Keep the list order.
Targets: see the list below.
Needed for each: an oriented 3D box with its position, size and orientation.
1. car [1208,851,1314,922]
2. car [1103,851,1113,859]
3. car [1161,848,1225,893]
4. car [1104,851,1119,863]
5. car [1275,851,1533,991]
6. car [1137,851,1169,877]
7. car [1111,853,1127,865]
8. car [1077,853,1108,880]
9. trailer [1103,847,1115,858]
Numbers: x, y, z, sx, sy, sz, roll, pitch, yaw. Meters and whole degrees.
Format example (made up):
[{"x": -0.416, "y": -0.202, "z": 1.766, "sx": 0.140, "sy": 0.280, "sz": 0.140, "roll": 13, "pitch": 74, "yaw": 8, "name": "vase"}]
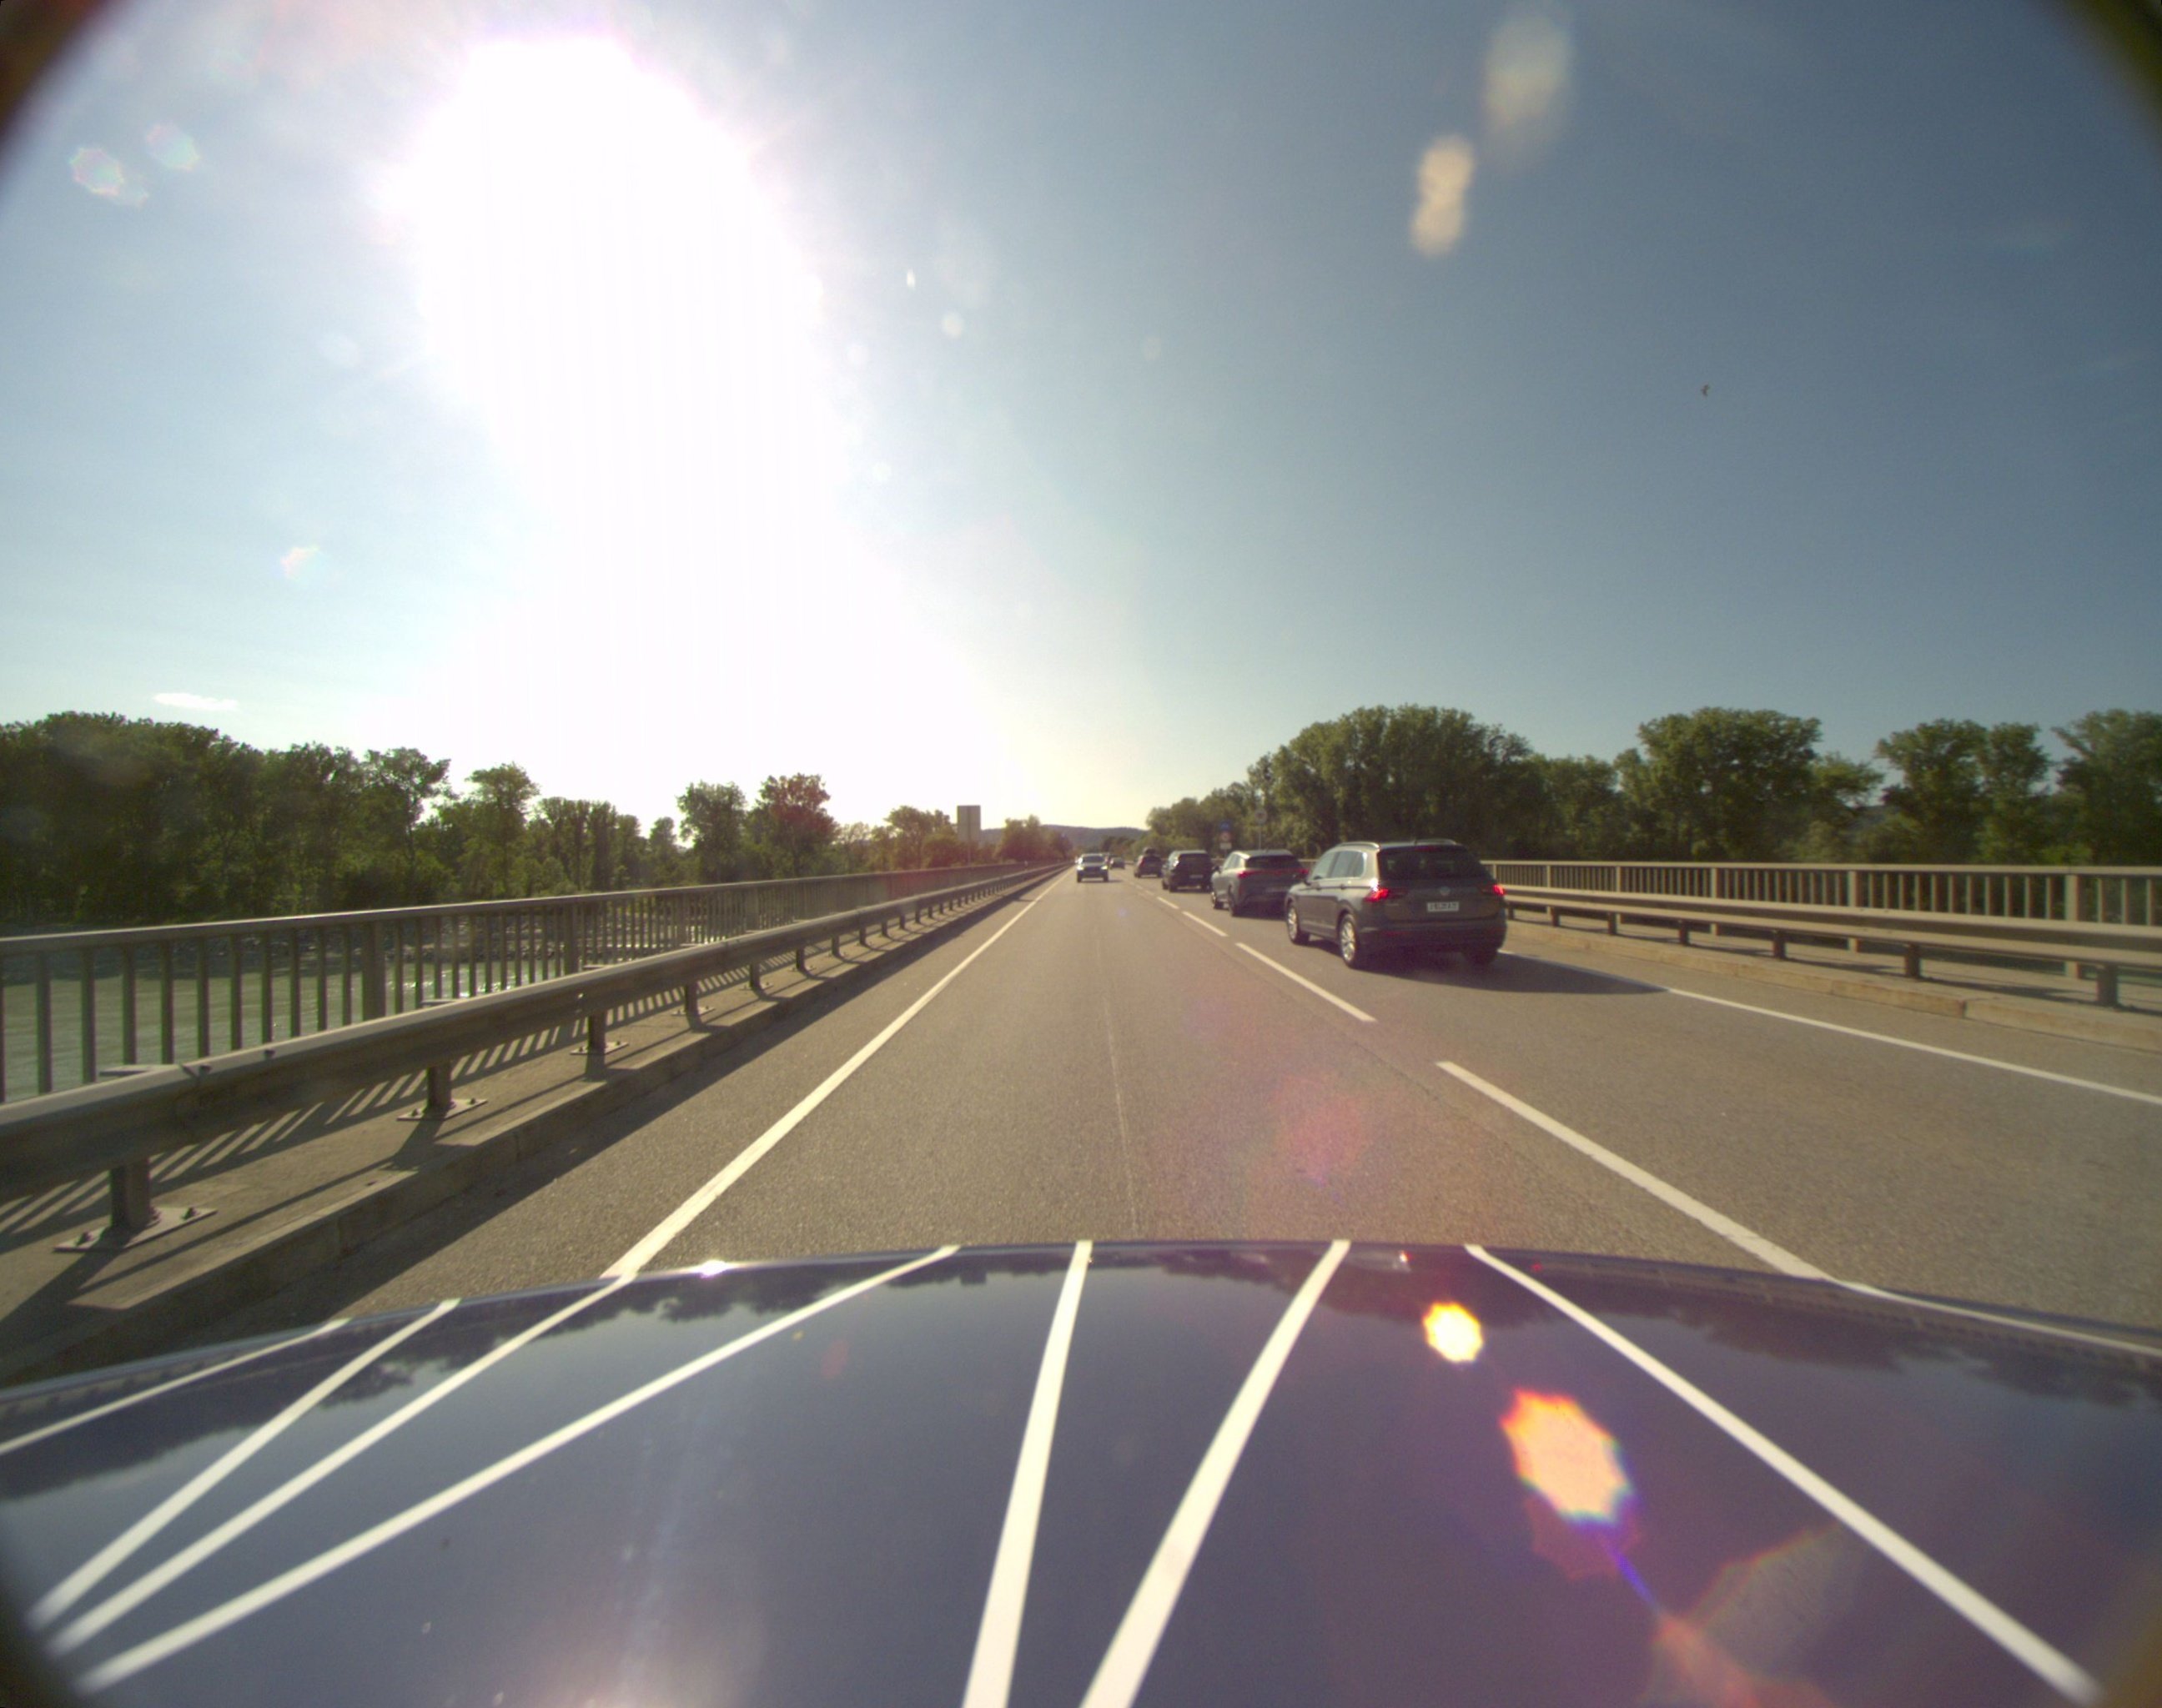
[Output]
[{"x": 4.398, "y": 0.737, "z": 19.221, "sx": 1.810, "sy": 1.568, "sz": 4.201, "roll": -1, "pitch": 0, "yaw": 2, "name": "car"}, {"x": 6.066, "y": 0.246, "z": 171.103, "sx": 1.807, "sy": 1.651, "sz": 4.432, "roll": -2, "pitch": 0, "yaw": 0, "name": "car"}, {"x": 4.627, "y": 0.652, "z": 32.196, "sx": 2.058, "sy": 1.643, "sz": 4.721, "roll": -3, "pitch": 0, "yaw": 2, "name": "car"}, {"x": 4.737, "y": 0.480, "z": 118.613, "sx": 2.042, "sy": 1.862, "sz": 5.069, "roll": -2, "pitch": 0, "yaw": 0, "name": "car"}, {"x": 4.257, "y": 0.769, "z": 10.862, "sx": 1.879, "sy": 1.574, "sz": 4.274, "roll": -1, "pitch": 0, "yaw": 1, "name": "car"}, {"x": 5.041, "y": 0.649, "z": 53.849, "sx": 1.859, "sy": 1.712, "sz": 4.566, "roll": -2, "pitch": 0, "yaw": 1, "name": "car"}, {"x": 4.724, "y": 0.610, "z": 94.384, "sx": 1.770, "sy": 1.439, "sz": 4.456, "roll": -2, "pitch": 0, "yaw": 0, "name": "car"}, {"x": 0.748, "y": 0.761, "z": 48.121, "sx": 1.871, "sy": 1.598, "sz": 4.380, "roll": -2, "pitch": 0, "yaw": 1, "name": "car"}, {"x": 6.875, "y": -0.348, "z": 187.239, "sx": 2.561, "sy": 2.721, "sz": 8.063, "roll": -2, "pitch": 0, "yaw": 1, "name": "trailer"}]
